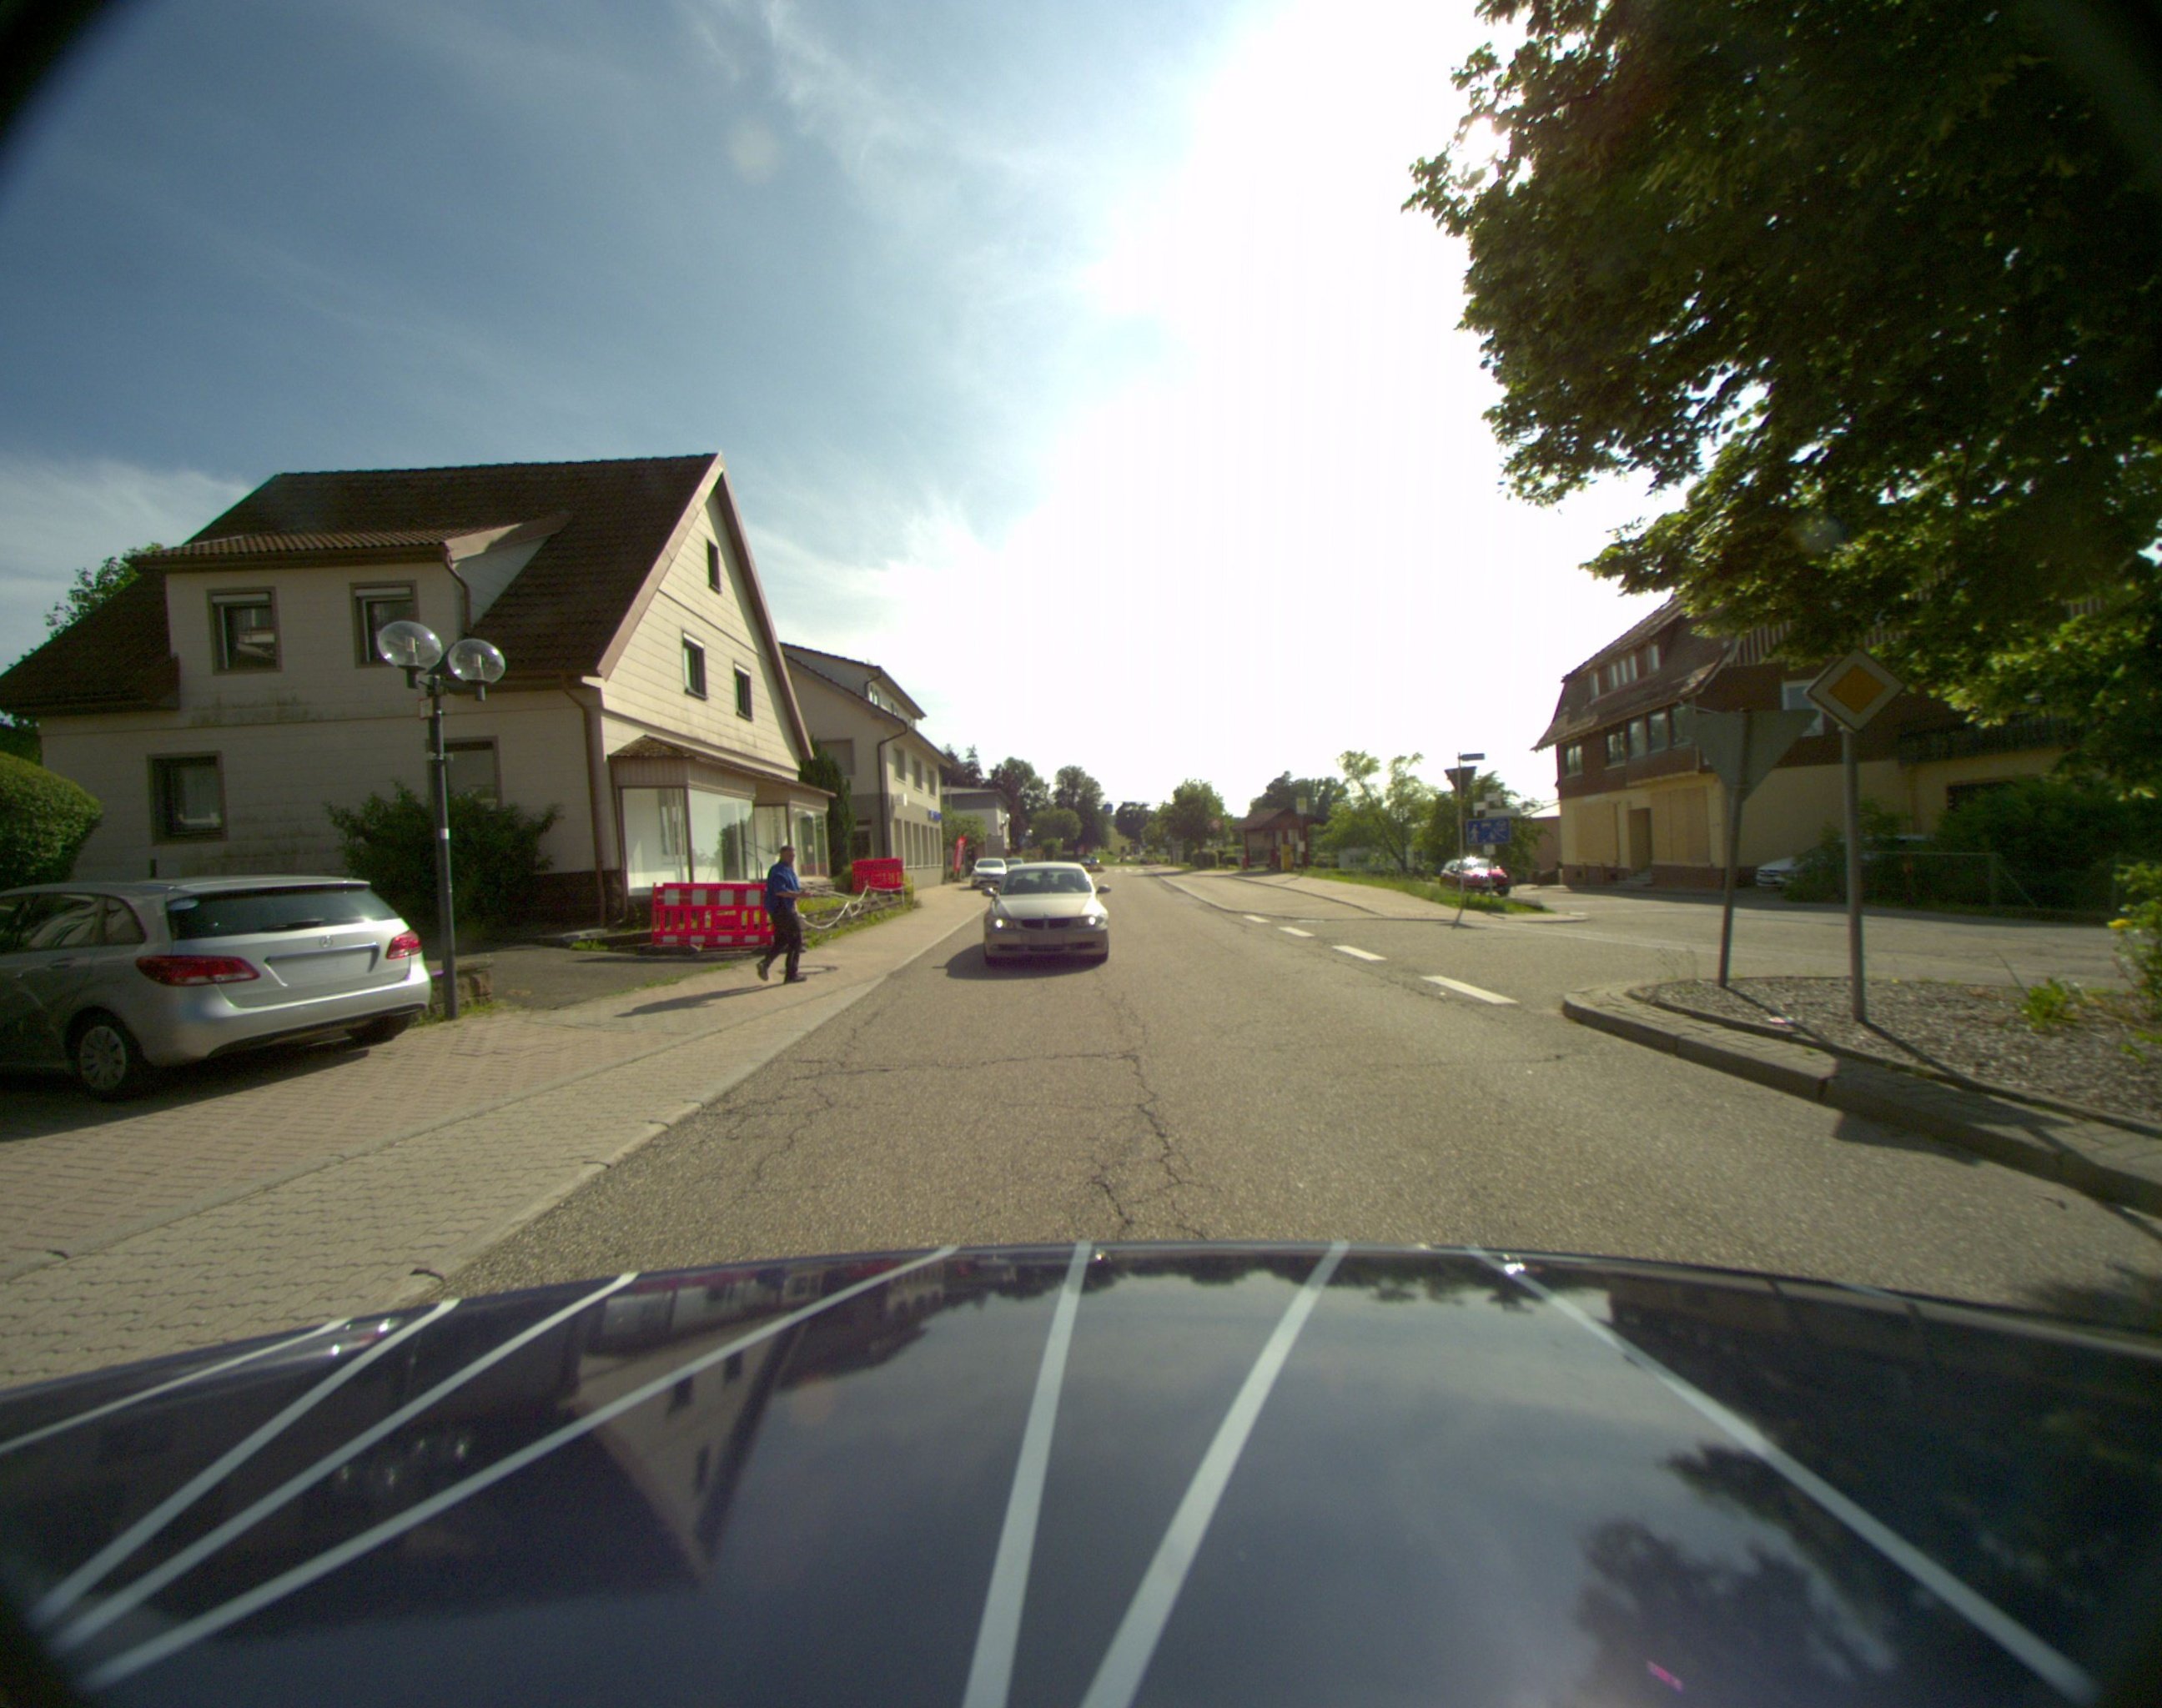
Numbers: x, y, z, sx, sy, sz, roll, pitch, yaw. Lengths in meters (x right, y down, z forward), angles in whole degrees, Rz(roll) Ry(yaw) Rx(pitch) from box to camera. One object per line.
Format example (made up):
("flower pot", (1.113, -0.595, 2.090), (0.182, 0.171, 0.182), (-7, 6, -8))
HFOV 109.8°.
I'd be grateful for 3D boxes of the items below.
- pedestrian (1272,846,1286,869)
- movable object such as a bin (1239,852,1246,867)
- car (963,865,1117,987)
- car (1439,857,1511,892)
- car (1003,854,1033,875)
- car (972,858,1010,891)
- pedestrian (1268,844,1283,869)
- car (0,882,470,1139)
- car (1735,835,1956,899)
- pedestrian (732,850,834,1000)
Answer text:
("pedestrian", (10.741, 0.182, 41.237), (0.631, 1.246, 0.423), (0, 1, -4))
("movable object such as a bin", (9.409, 0.304, 44.298), (0.305, 0.832, 0.485), (-2, 1, -4))
("car", (-0.543, 0.908, 11.490), (1.839, 1.360, 4.580), (-1, 0, -1))
("car", (16.142, 0.799, 31.300), (1.723, 1.289, 4.004), (-1, 0, 14))
("car", (-4.565, 0.752, 55.368), (1.764, 1.415, 3.634), (-1, 0, 2))
("car", (-4.291, 0.946, 36.476), (1.640, 1.411, 3.933), (-2, 0, -6))
("pedestrian", (10.689, 0.140, 41.802), (0.619, 1.356, 0.674), (0, -1, -2))
("car", (-7.563, 1.110, 6.184), (3.868, 1.549, 1.965), (-2, 0, 12))
("car", (22.220, 0.362, 22.253), (4.310, 1.503, 1.800), (-4, 2, 9))
("pedestrian", (-3.706, 0.850, 9.535), (0.801, 1.774, 0.980), (-2, 1, 4))
